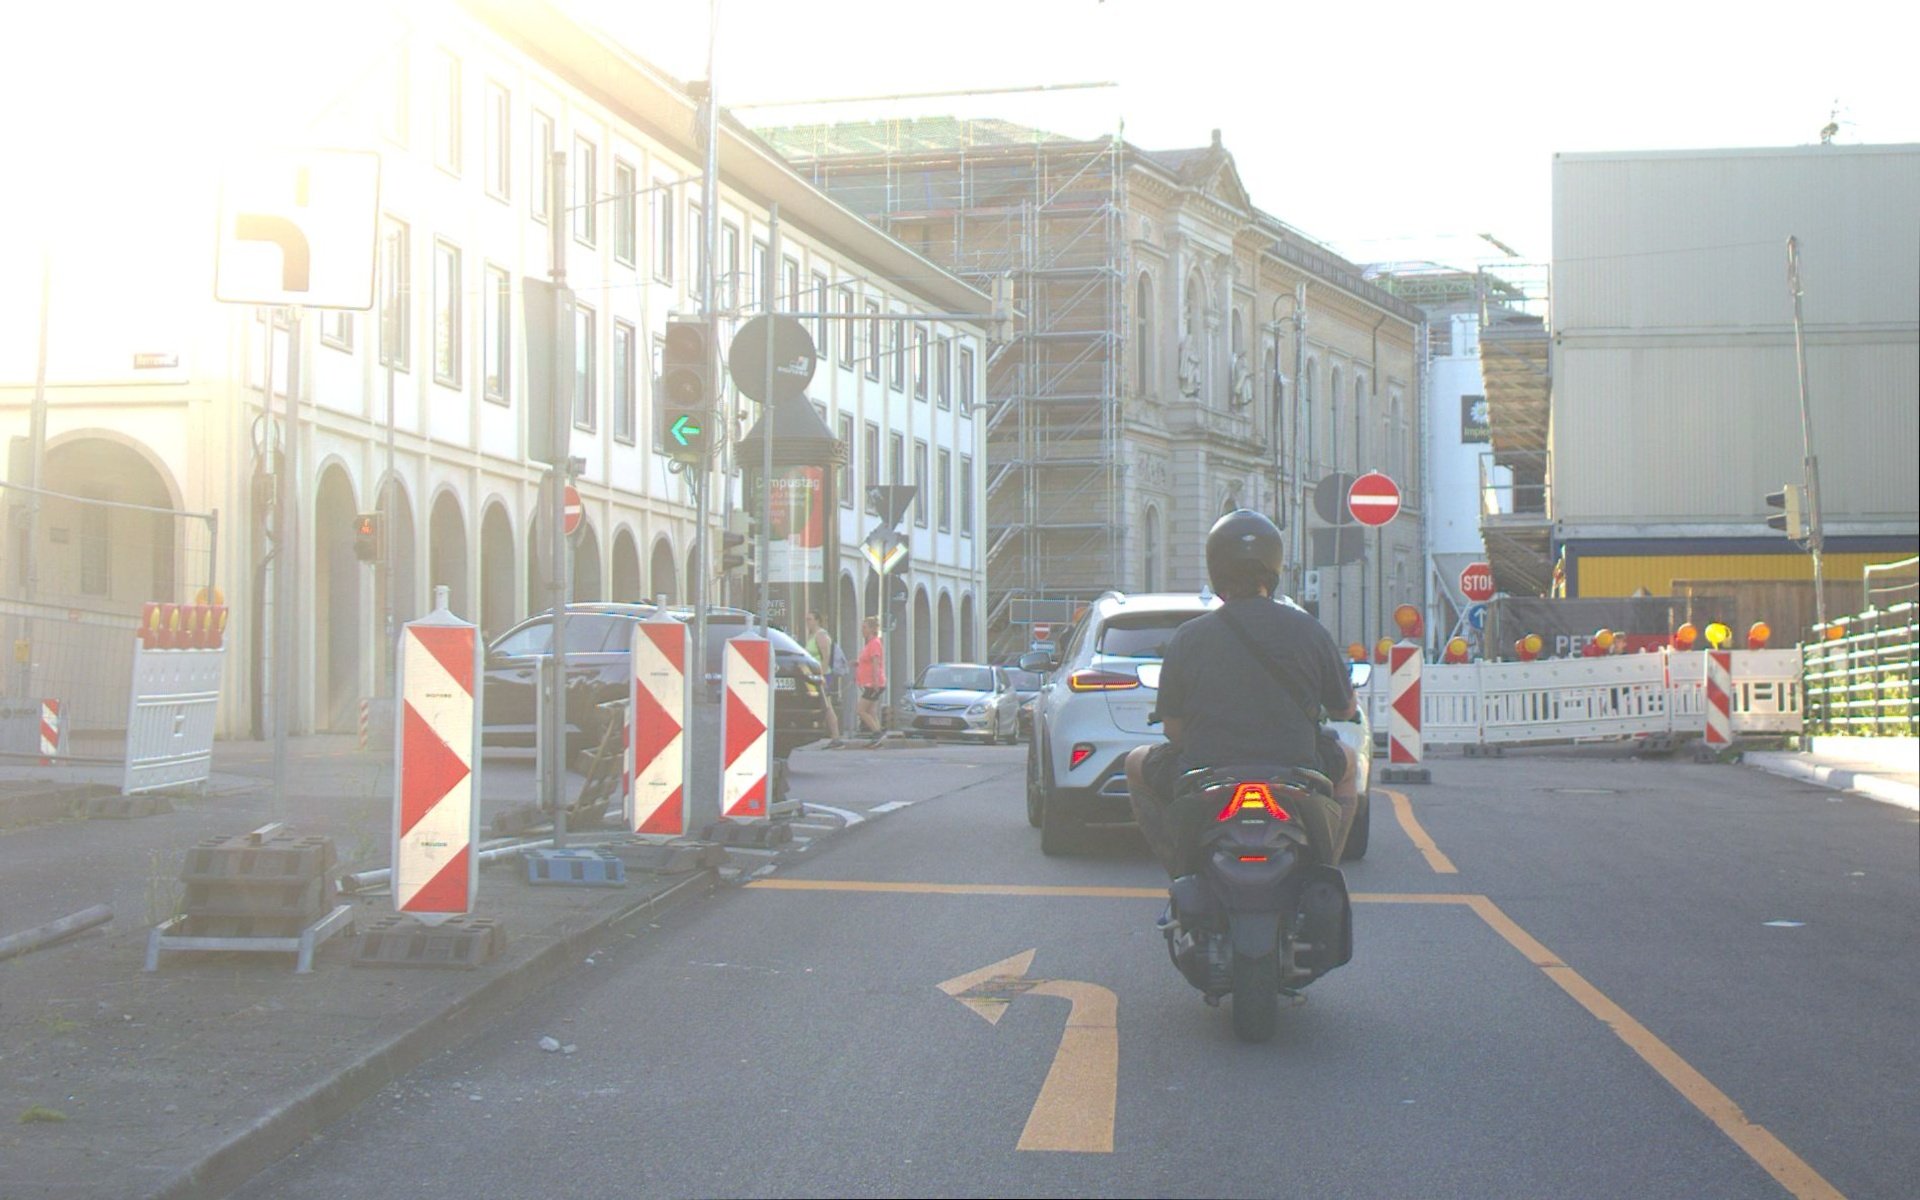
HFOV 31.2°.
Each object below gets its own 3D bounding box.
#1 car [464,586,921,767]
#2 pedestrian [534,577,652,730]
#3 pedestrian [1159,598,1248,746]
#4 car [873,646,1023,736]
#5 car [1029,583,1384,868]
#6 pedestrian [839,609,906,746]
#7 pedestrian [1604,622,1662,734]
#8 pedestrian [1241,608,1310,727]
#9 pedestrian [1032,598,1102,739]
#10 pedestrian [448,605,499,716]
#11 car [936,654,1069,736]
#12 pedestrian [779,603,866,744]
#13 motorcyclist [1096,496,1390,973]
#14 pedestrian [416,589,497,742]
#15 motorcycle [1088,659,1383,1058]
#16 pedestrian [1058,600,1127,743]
[{"bbox_3d":[-2.484,0.686,31.372,4.102,1.545,1.775,-1,-1,40],"label":"car"},{"bbox_3d":[-4.362,0.631,40.920,1.243,1.795,0.716,0,1,7],"label":"pedestrian"},{"bbox_3d":[2.901,0.859,40.847,0.974,1.723,0.798,-2,-2,7],"label":"pedestrian"},{"bbox_3d":[-0.179,1.658,61.937,1.925,1.461,3.997,1,-3,11],"label":"car"},{"bbox_3d":[1.478,0.693,20.363,1.859,1.467,3.999,1,-1,5],"label":"car"},{"bbox_3d":[-1.053,0.931,41.421,0.725,1.619,0.620,0,1,7],"label":"pedestrian"},{"bbox_3d":[8.015,0.928,40.981,0.618,1.295,0.493,2,-1,10],"label":"pedestrian"},{"bbox_3d":[3.943,0.849,42.966,0.769,1.457,0.665,-2,-1,11],"label":"pedestrian"},{"bbox_3d":[1.323,0.845,42.363,0.737,1.710,0.621,-2,-1,11],"label":"pedestrian"},{"bbox_3d":[-8.184,1.018,57.877,0.640,1.834,0.727,1,1,11],"label":"pedestrian"},{"bbox_3d":[0.878,1.909,68.320,1.925,1.461,3.997,1,-3,11],"label":"car"},{"bbox_3d":[-1.695,0.896,42.457,0.965,1.704,0.675,0,1,7],"label":"pedestrian"},{"bbox_3d":[0.980,0.438,11.876,0.954,1.554,1.239,0,0,5],"label":"motorcyclist"},{"bbox_3d":[-6.010,0.771,41.055,0.773,1.795,0.711,0,1,7],"label":"pedestrian"},{"bbox_3d":[0.965,0.819,11.923,0.906,1.179,2.578,0,0,5],"label":"motorcycle"},{"bbox_3d":[1.670,0.901,43.270,0.737,1.765,0.621,-2,-1,11],"label":"pedestrian"}]
